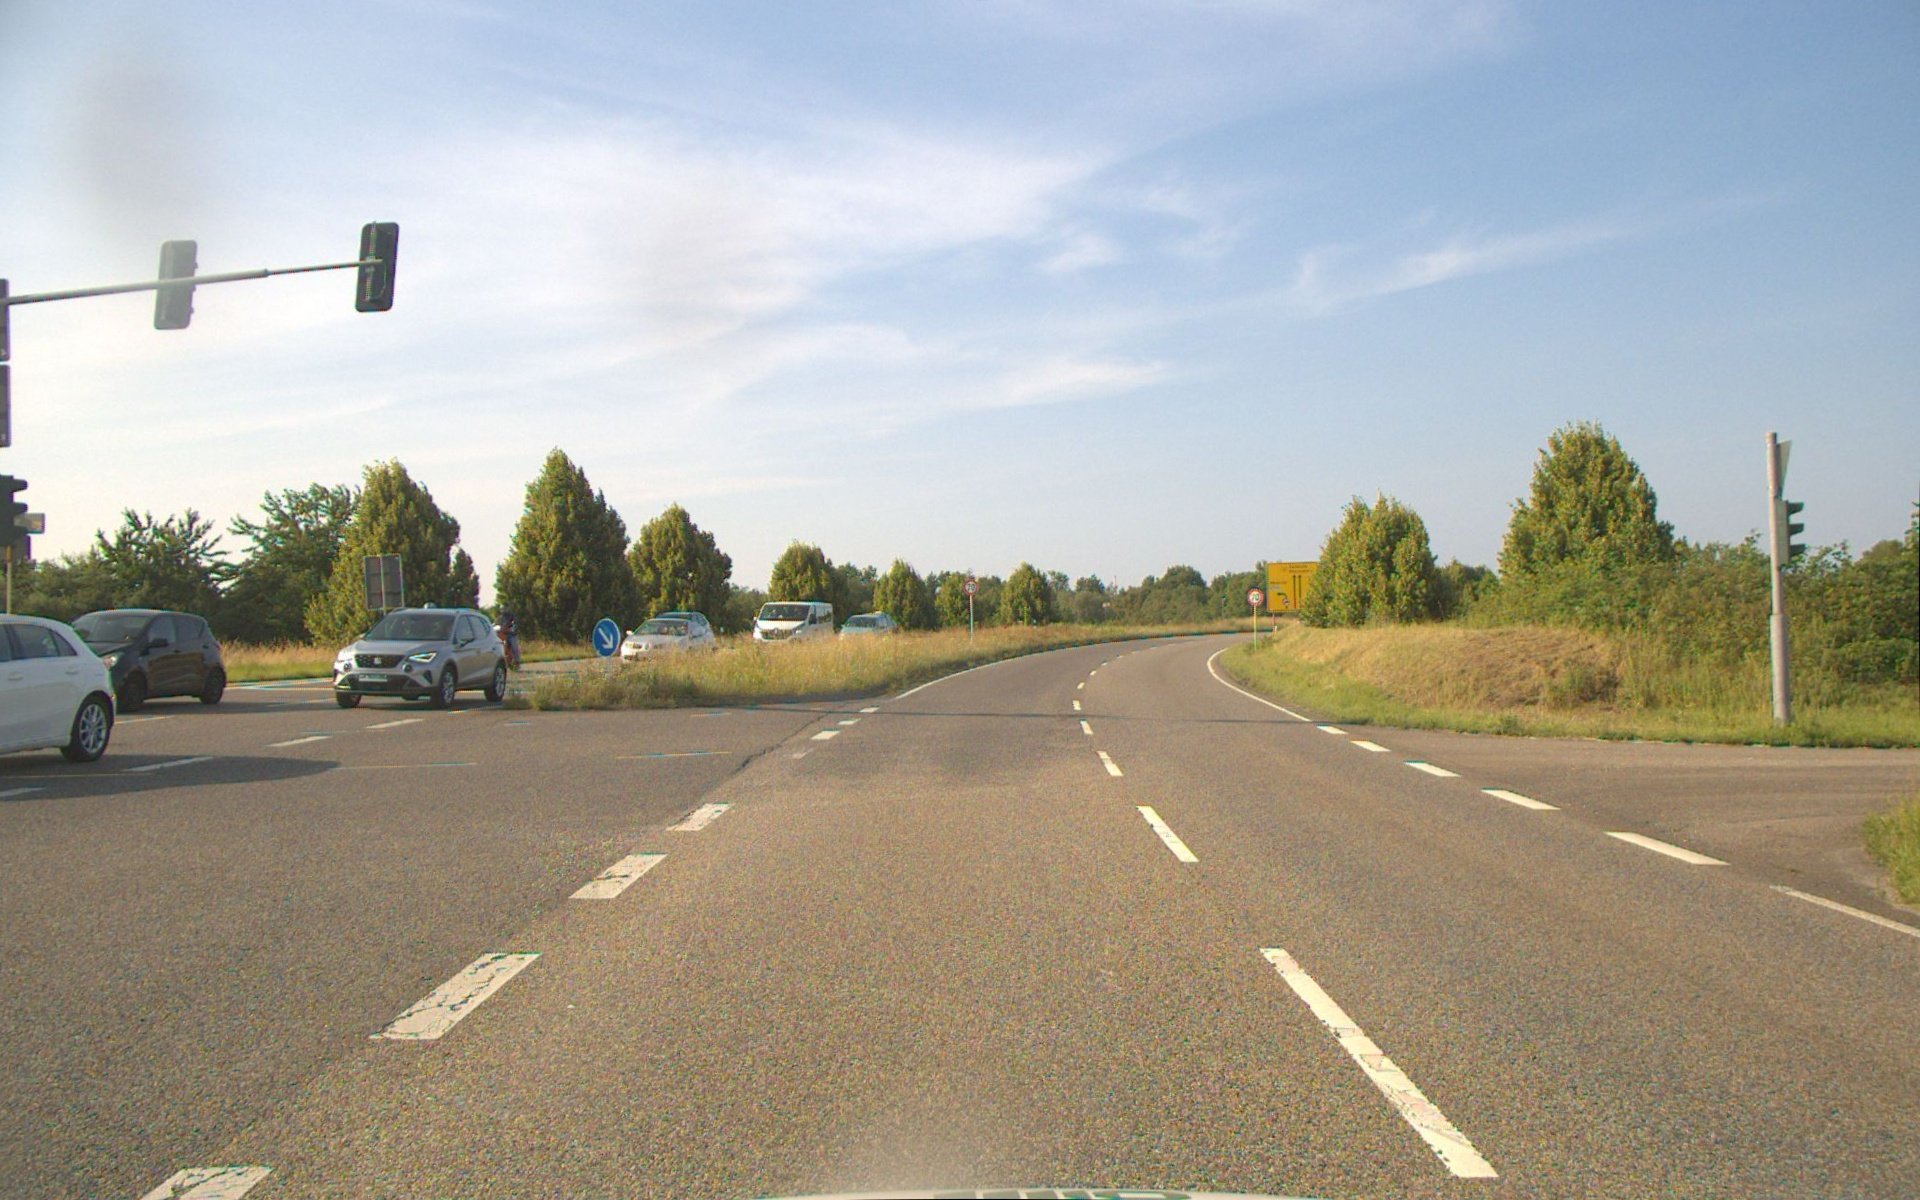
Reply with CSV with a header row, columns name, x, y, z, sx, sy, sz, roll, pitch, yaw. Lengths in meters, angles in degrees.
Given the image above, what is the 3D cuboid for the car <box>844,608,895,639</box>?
name,x,y,z,sx,sy,sz,roll,pitch,yaw
car,-4.794,1.259,88.413,1.872,1.593,4.614,0,-1,8

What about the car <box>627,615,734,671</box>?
name,x,y,z,sx,sy,sz,roll,pitch,yaw
car,-7.208,1.090,43.095,1.658,1.377,4.455,0,-1,5

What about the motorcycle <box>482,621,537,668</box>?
name,x,y,z,sx,sy,sz,roll,pitch,yaw
motorcycle,-11.608,1.140,42.693,0.692,1.179,2.024,0,-1,6

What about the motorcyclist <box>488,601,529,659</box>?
name,x,y,z,sx,sy,sz,roll,pitch,yaw
motorcyclist,-11.623,0.764,42.599,0.689,1.490,1.021,0,-1,5

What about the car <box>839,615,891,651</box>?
name,x,y,z,sx,sy,sz,roll,pitch,yaw
car,-3.975,1.367,69.558,1.643,1.469,3.754,0,-1,5

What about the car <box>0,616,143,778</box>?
name,x,y,z,sx,sy,sz,roll,pitch,yaw
car,-9.368,0.862,14.931,1.694,1.438,4.395,0,-1,2

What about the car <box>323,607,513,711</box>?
name,x,y,z,sx,sy,sz,roll,pitch,yaw
car,-8.659,0.907,26.782,1.651,1.550,4.092,0,-1,1

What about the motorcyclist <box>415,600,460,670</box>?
name,x,y,z,sx,sy,sz,roll,pitch,yaw
motorcyclist,-11.625,0.770,36.838,0.683,1.529,0.896,0,0,2

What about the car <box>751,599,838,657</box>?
name,x,y,z,sx,sy,sz,roll,pitch,yaw
car,-5.747,0.951,58.157,1.951,1.937,5.792,0,-1,6

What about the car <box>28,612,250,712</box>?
name,x,y,z,sx,sy,sz,roll,pitch,yaw
car,-12.618,0.914,25.658,1.651,1.437,3.521,0,-1,0
